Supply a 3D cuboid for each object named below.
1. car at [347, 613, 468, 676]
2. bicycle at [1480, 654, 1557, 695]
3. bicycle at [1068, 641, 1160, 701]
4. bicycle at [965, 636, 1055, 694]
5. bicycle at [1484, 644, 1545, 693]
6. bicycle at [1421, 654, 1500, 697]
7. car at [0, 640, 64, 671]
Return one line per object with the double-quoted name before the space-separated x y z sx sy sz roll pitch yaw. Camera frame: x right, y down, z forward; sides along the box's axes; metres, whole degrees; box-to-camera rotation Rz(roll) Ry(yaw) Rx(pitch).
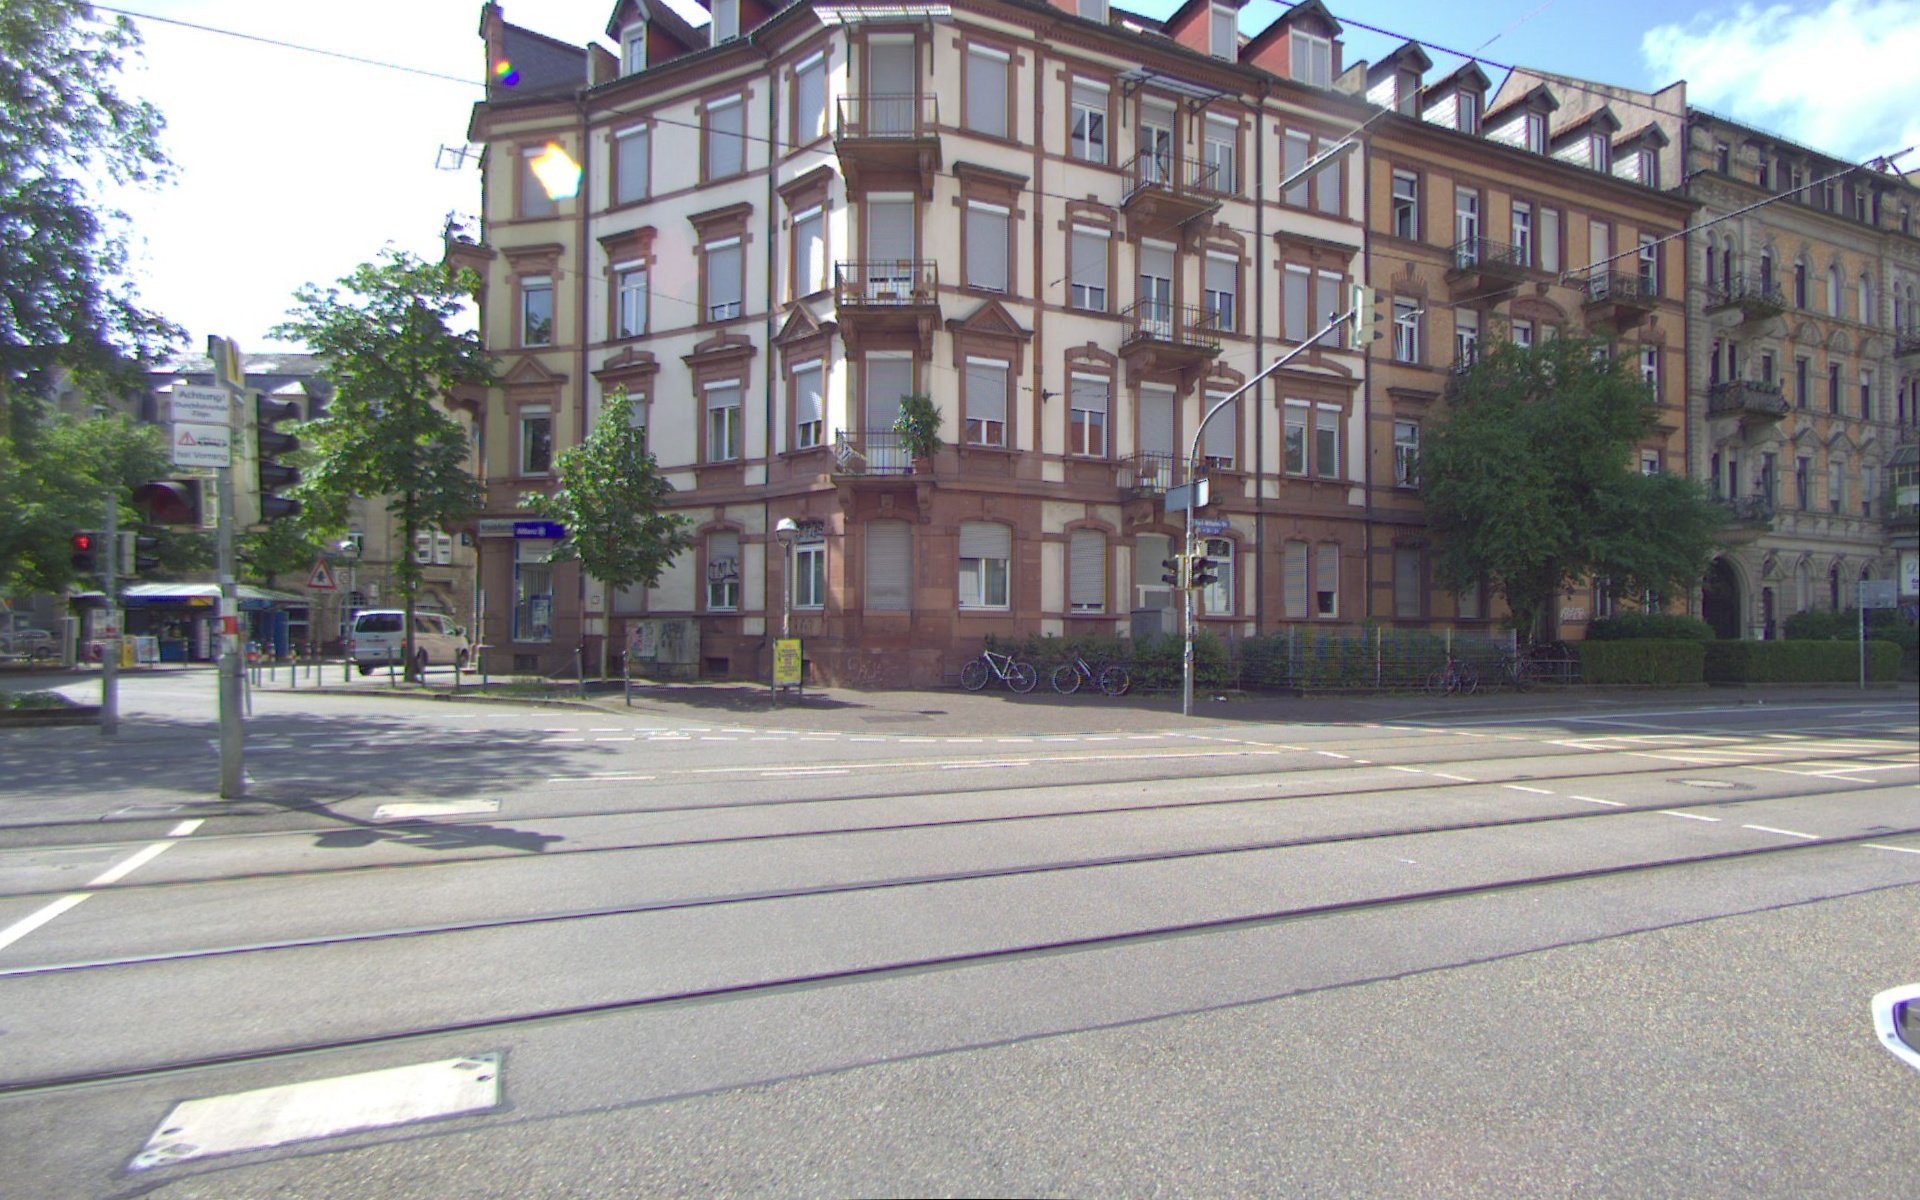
"car" -17.972 1.443 32.903 1.963 1.933 4.262 0 -2 -7
"bicycle" 13.131 1.743 23.600 1.798 0.944 0.558 1 -2 -21
"bicycle" 3.308 1.510 21.602 1.915 1.241 0.483 0 -2 15
"bicycle" 1.093 1.419 22.119 1.915 1.241 0.483 0 -2 15
"bicycle" 13.693 1.680 24.841 0.490 1.146 1.301 1 -2 -24
"bicycle" 11.440 1.709 22.959 1.798 0.944 0.558 1 -2 -21
"car" -49.568 2.913 52.795 3.341 1.557 1.665 0 -2 -4
